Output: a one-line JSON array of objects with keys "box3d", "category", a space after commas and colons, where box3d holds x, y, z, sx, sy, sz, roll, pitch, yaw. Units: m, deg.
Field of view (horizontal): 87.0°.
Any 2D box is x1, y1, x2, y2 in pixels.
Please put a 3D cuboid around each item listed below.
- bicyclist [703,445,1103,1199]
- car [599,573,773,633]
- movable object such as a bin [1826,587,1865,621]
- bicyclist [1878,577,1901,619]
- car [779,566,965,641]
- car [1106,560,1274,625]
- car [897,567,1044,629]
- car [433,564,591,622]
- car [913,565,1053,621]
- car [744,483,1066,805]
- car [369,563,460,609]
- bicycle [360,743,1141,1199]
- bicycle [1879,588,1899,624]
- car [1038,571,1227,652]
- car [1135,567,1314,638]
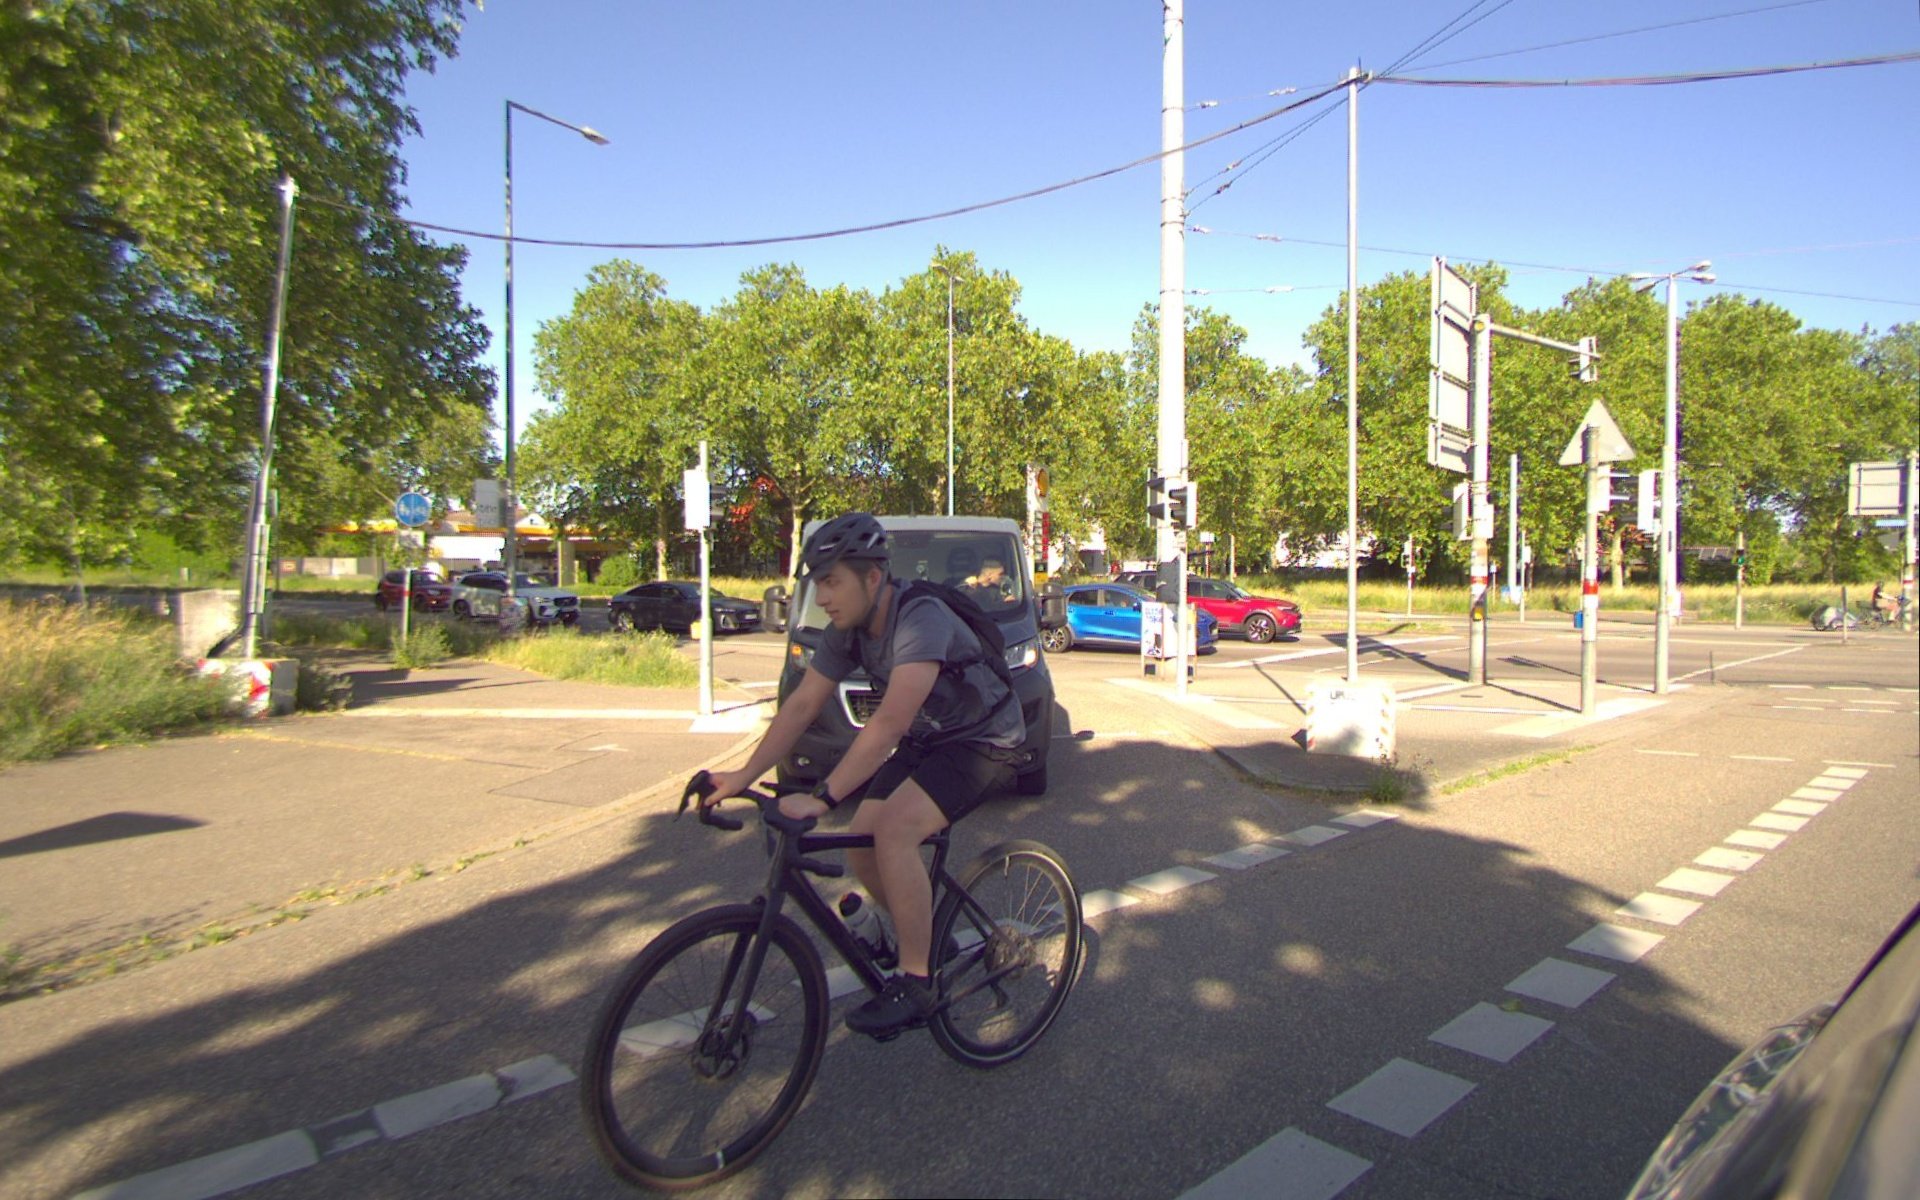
[{"box3d": [-0.149, 0.486, 2.796, 0.917, 1.700, 0.616, -1, 2, -40], "category": "bicyclist"}, {"box3d": [-7.702, 0.038, 28.472, 4.520, 1.424, 1.921, 1, 5, 24], "category": "car"}, {"box3d": [29.501, 0.114, 33.711, 0.909, 1.081, 1.296, 2, 3, 44], "category": "movable object such as a bin"}, {"box3d": [30.706, -0.078, 33.431, 0.509, 1.357, 0.556, 2, 2, 42], "category": "bicyclist"}, {"box3d": [-2.191, 0.029, 25.132, 4.229, 1.699, 1.919, 1, 2, 24], "category": "car"}, {"box3d": [6.637, -0.282, 29.214, 4.446, 1.732, 1.906, 1, 2, 24], "category": "car"}, {"box3d": [0.282, -0.093, 28.435, 3.823, 1.620, 1.697, 1, 2, 28], "category": "car"}, {"box3d": [-14.112, -0.218, 31.833, 4.725, 1.703, 1.894, 0, 2, 25], "category": "car"}, {"box3d": [0.731, -0.254, 31.715, 3.957, 1.638, 1.984, 1, 1, 25], "category": "car"}, {"box3d": [-0.408, 0.204, 9.149, 2.090, 2.096, 5.122, 0, 2, -1], "category": "car"}, {"box3d": [-20.930, -0.556, 38.855, 3.174, 1.635, 1.363, 1, 5, 24], "category": "car"}, {"box3d": [-0.398, 1.003, 2.735, 2.051, 0.934, 0.525, -2, 3, -39], "category": "bicycle"}, {"box3d": [31.104, 0.189, 33.892, 0.466, 1.132, 1.792, 1, 2, 42], "category": "bicycle"}, {"box3d": [3.788, 0.194, 22.270, 3.819, 1.620, 1.699, 1, 3, 25], "category": "car"}, {"box3d": [6.592, 0.000, 25.324, 4.052, 1.620, 1.799, 1, 2, 28], "category": "car"}]
